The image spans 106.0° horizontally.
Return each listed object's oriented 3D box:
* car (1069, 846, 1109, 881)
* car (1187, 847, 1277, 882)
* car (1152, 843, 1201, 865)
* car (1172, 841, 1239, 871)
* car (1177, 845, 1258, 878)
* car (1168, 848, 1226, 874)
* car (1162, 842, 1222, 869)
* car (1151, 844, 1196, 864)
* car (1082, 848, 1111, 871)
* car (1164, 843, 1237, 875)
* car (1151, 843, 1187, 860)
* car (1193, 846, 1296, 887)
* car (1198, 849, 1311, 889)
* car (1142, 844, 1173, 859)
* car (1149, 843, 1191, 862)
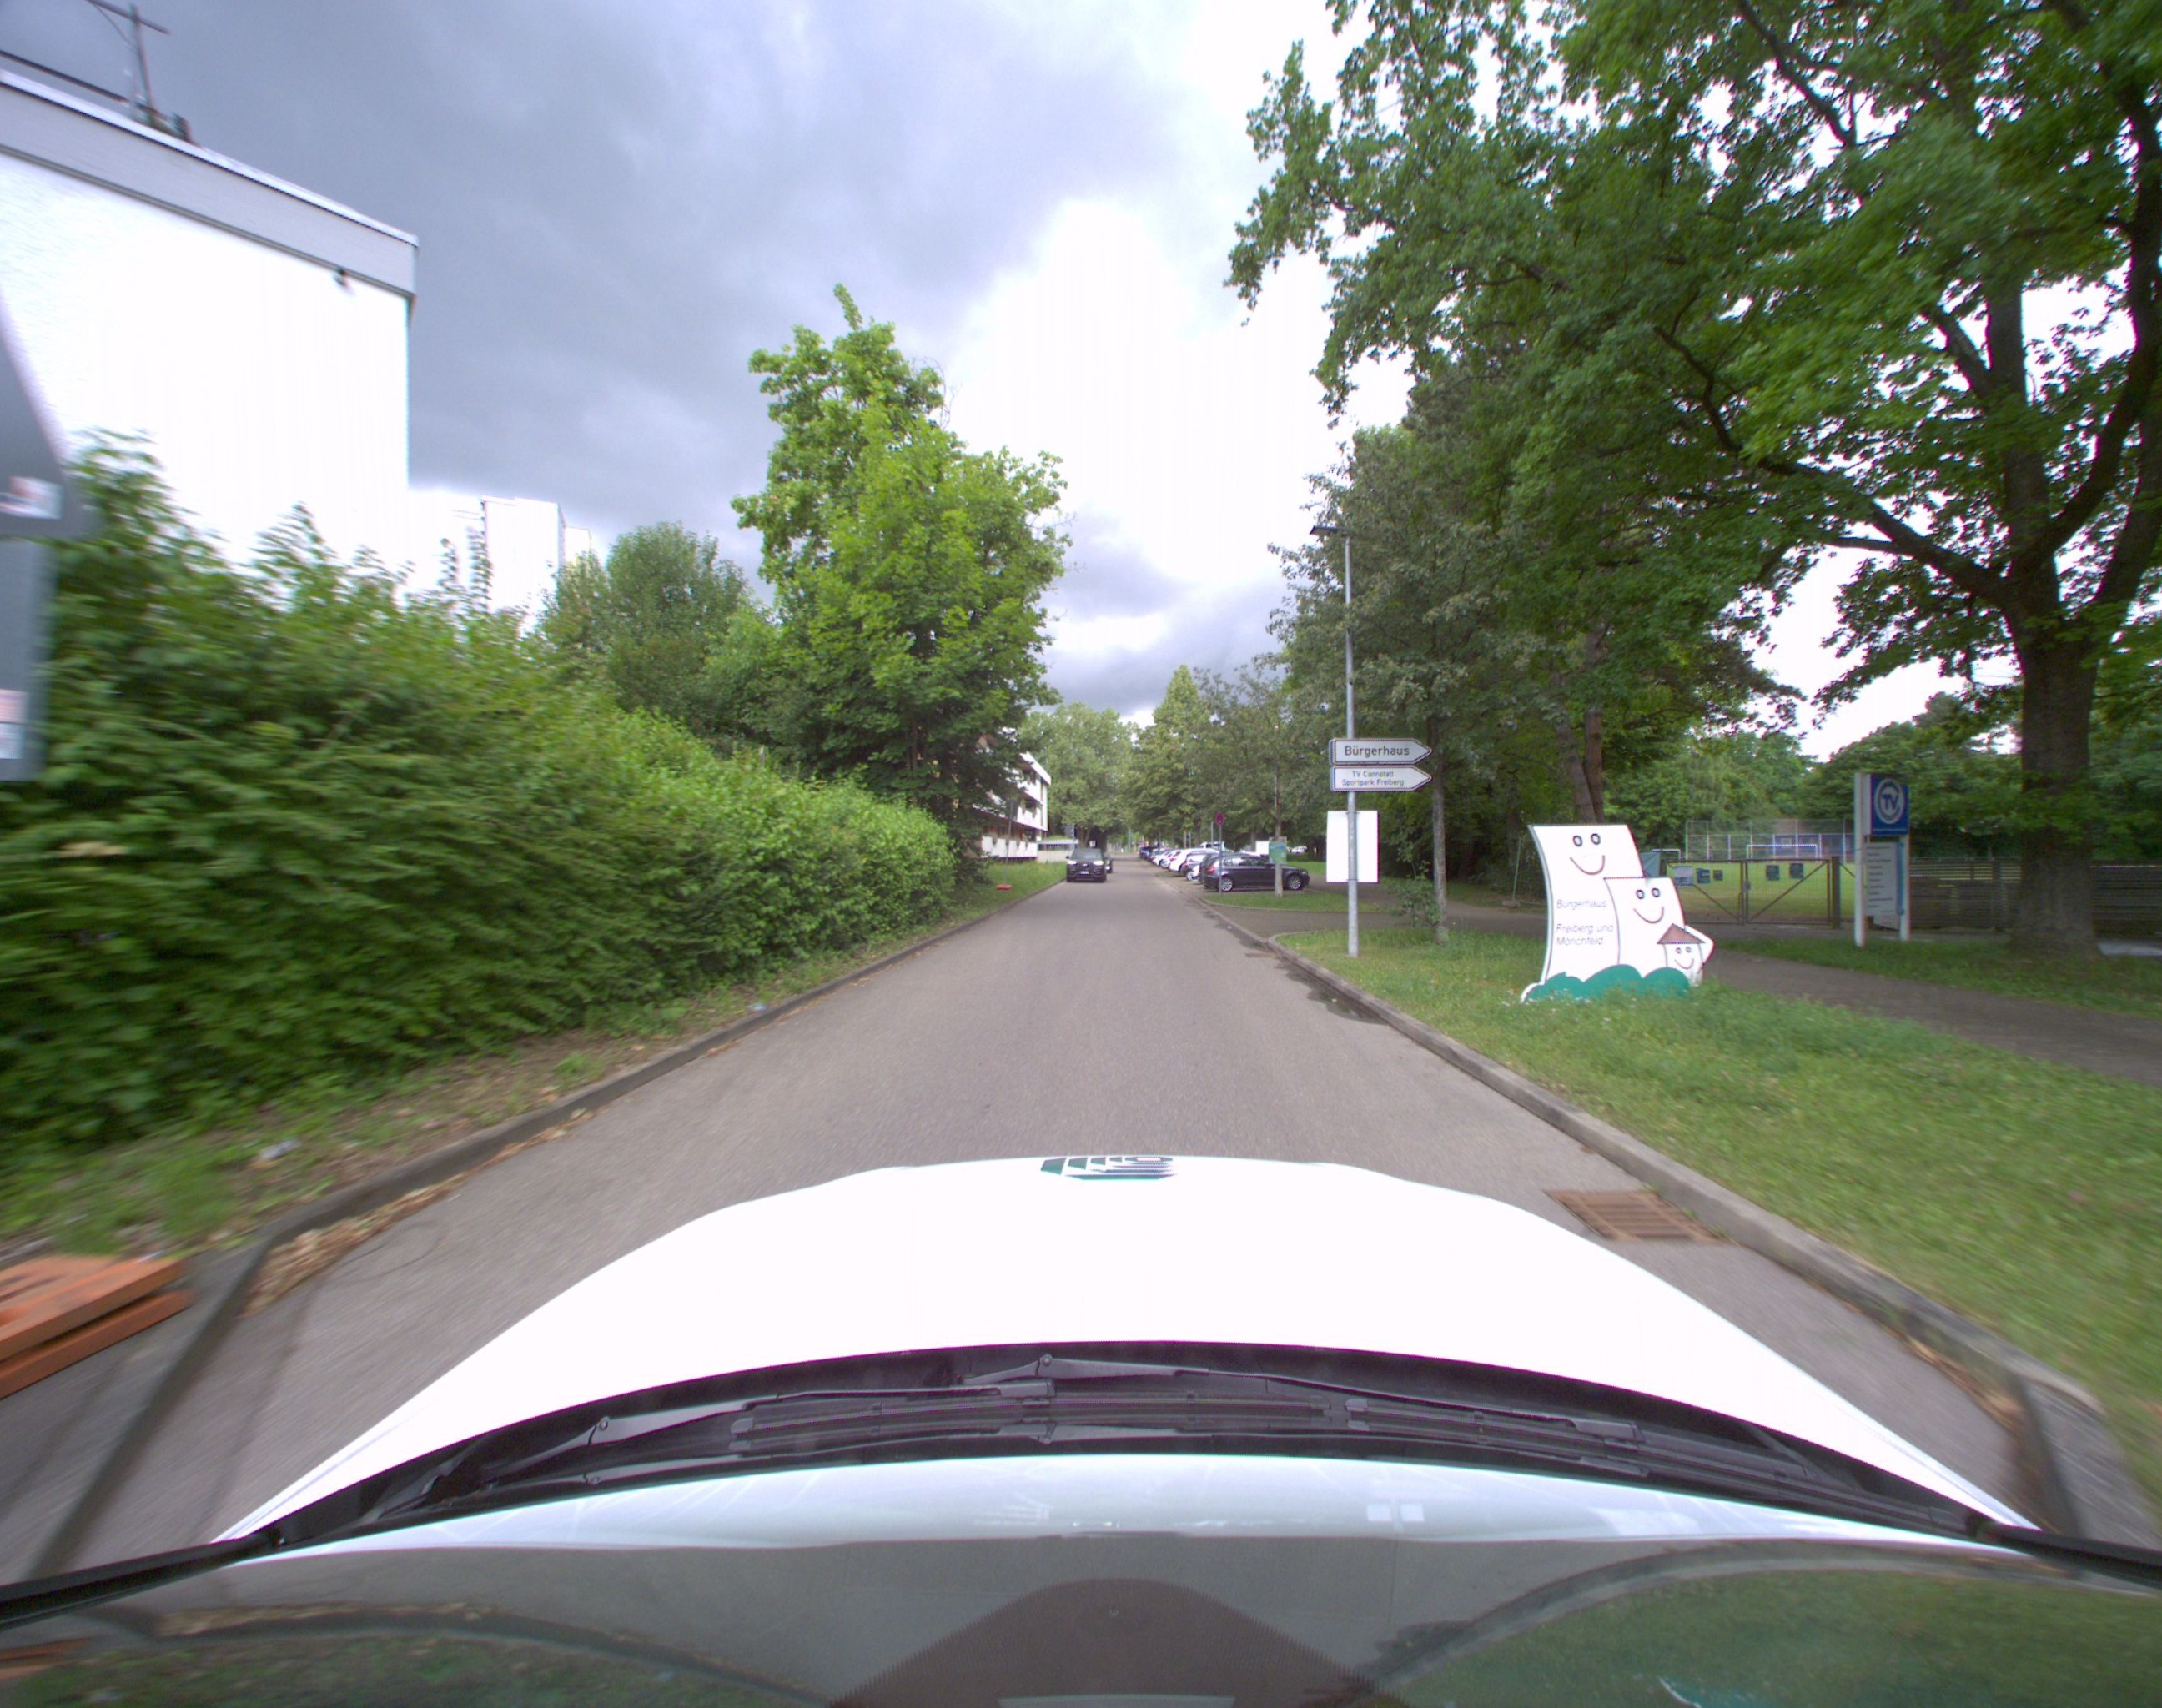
[{"bbox_3d":[0.474,0.450,43.121,1.961,1.747,4.340,0,0,2],"label":"car"},{"bbox_3d":[7.278,0.502,39.624,4.047,1.568,1.823,-2,0,2],"label":"car"},{"bbox_3d":[8.585,-0.031,73.292,4.051,1.687,1.822,-4,0,-1],"label":"car"},{"bbox_3d":[8.139,0.103,53.655,4.051,1.687,1.822,-4,0,-1],"label":"car"},{"bbox_3d":[7.394,0.393,44.442,4.051,1.488,1.822,-4,0,-1],"label":"car"},{"bbox_3d":[8.874,0.500,62.558,4.051,1.687,1.822,-4,0,-1],"label":"car"},{"bbox_3d":[8.144,0.119,60.103,4.051,1.687,1.822,-4,0,-1],"label":"car"},{"bbox_3d":[8.971,0.000,78.927,4.051,1.687,1.822,-4,0,-1],"label":"car"},{"bbox_3d":[1.141,0.398,58.543,1.961,1.575,4.340,0,0,2],"label":"car"},{"bbox_3d":[7.227,0.294,49.581,4.051,1.687,1.822,-4,0,-1],"label":"car"},{"bbox_3d":[10.604,-0.350,97.868,4.051,1.770,1.822,-4,0,-1],"label":"car"},{"bbox_3d":[6.941,0.541,34.810,4.047,1.568,1.823,-2,-2,2],"label":"car"},{"bbox_3d":[6.767,0.597,32.122,4.047,1.434,2.001,-2,-1,2],"label":"car"},{"bbox_3d":[10.542,-0.387,112.444,4.051,1.770,1.822,-4,0,-1],"label":"car"},{"bbox_3d":[9.149,-0.195,84.167,4.051,1.687,1.822,-4,0,-1],"label":"car"}]
